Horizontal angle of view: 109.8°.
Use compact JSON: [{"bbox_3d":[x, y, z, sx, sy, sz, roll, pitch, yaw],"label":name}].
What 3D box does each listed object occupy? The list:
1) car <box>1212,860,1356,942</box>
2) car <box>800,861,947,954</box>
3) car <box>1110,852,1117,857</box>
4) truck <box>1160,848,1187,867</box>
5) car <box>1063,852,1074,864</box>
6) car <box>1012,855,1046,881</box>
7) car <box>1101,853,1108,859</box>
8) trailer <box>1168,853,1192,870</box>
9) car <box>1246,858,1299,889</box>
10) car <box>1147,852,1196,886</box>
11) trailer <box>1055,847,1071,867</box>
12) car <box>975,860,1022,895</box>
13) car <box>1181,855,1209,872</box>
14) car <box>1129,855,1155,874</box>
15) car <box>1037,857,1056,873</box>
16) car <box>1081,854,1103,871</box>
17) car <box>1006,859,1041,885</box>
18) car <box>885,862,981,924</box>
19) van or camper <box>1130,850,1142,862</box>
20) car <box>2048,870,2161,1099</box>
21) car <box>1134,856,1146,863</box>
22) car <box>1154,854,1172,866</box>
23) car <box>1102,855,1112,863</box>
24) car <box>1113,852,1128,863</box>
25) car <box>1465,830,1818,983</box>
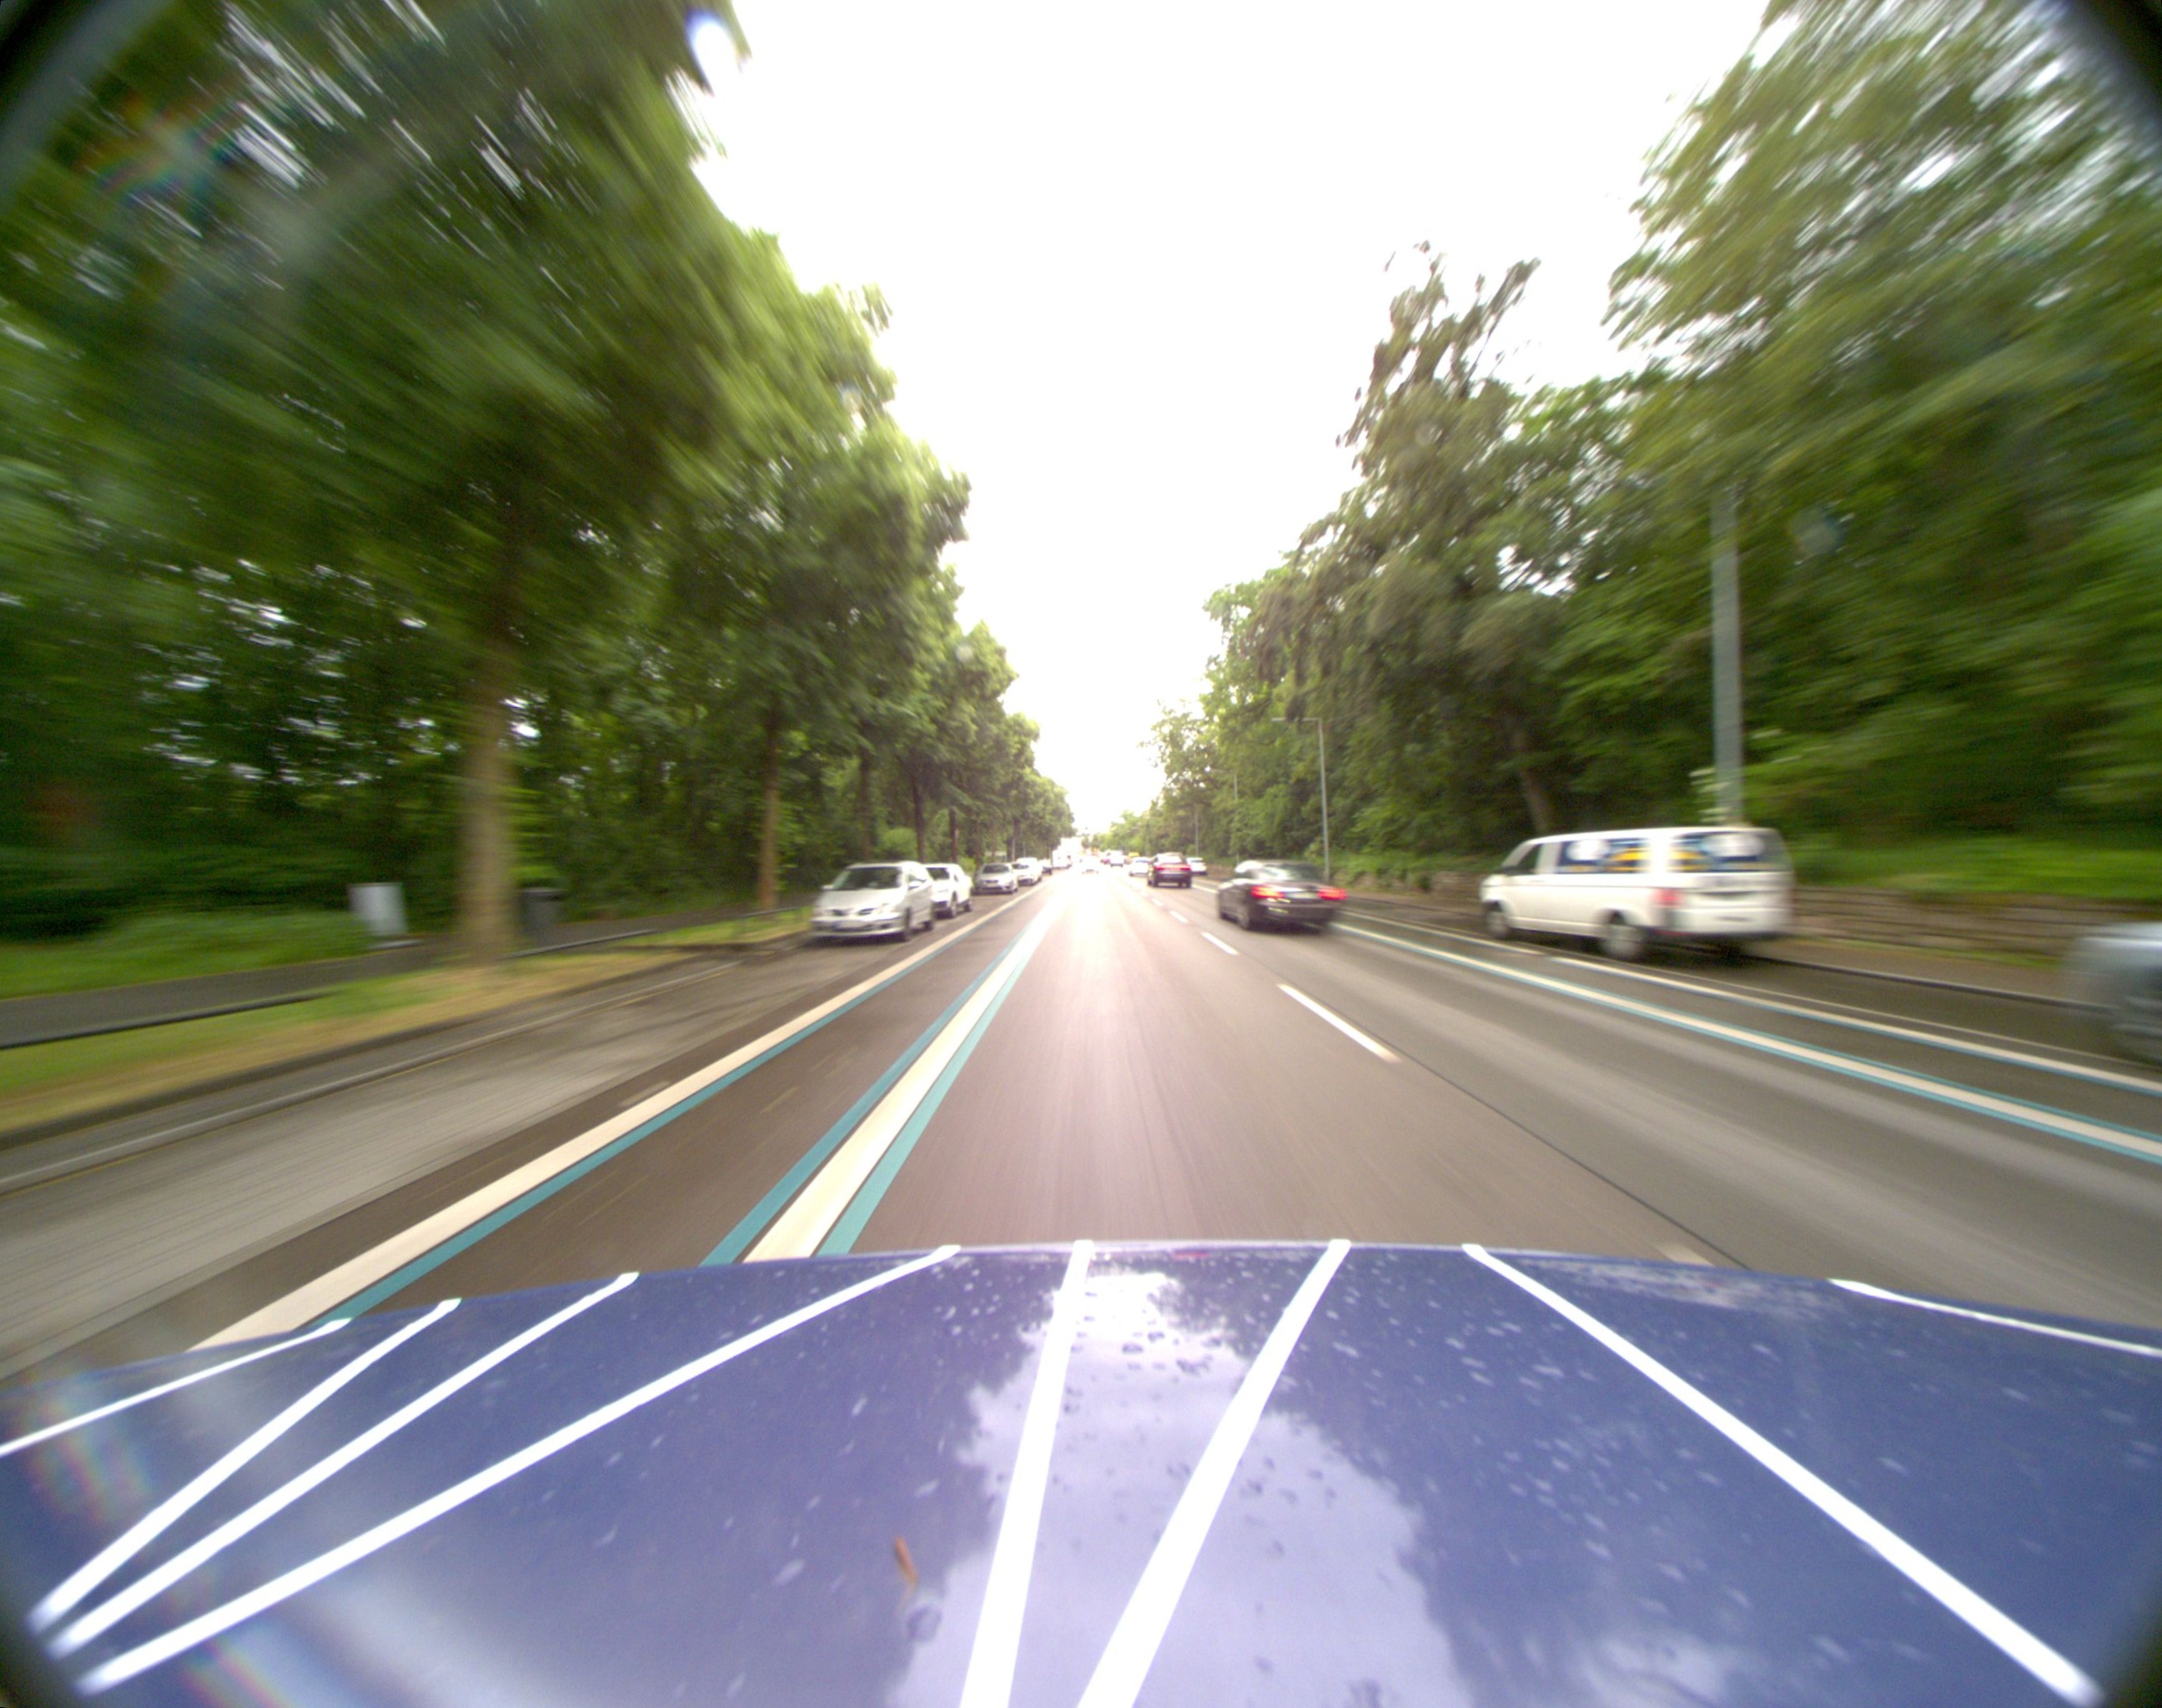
[{"bbox_3d":[4.213,0.906,16.577,1.920,1.448,4.620,1,0,1],"label":"car"},{"bbox_3d":[-4.188,1.004,16.205,1.757,1.587,4.740,-2,0,0],"label":"car"},{"bbox_3d":[10.021,0.239,233.387,1.825,1.427,3.559,-1,0,1],"label":"car"},{"bbox_3d":[10.047,0.372,82.917,2.099,2.002,5.158,-1,0,-2],"label":"truck"},{"bbox_3d":[-2.444,0.731,148.660,1.998,2.231,4.000,-2,1,1],"label":"car"},{"bbox_3d":[-3.527,0.946,52.233,1.998,1.652,4.562,-1,0,0],"label":"car"},{"bbox_3d":[6.084,0.528,197.714,1.769,1.449,4.496,-1,0,1],"label":"car"},{"bbox_3d":[10.100,0.774,77.551,1.347,1.647,2.271,0,0,39],"label":"trailer"},{"bbox_3d":[9.391,0.943,37.582,1.694,1.397,4.028,-2,0,2],"label":"car"},{"bbox_3d":[4.568,0.739,38.893,1.966,1.608,4.466,1,0,1],"label":"car"},{"bbox_3d":[-2.374,0.409,100.788,1.988,2.550,3.999,-1,0,-2],"label":"trailer"},{"bbox_3d":[-3.789,1.061,35.496,1.702,1.445,4.097,-2,0,-1],"label":"car"},{"bbox_3d":[9.801,0.829,65.606,1.759,1.427,4.356,0,0,-1],"label":"car"},{"bbox_3d":[4.831,0.801,60.661,1.780,1.457,4.063,1,0,1],"label":"car"},{"bbox_3d":[-3.242,1.006,71.807,1.700,1.468,3.997,0,0,-1],"label":"car"},{"bbox_3d":[1.039,0.784,72.607,1.998,1.588,4.000,-2,0,1],"label":"car"},{"bbox_3d":[-3.401,1.040,45.510,1.702,1.445,3.946,-2,0,0],"label":"car"},{"bbox_3d":[-4.159,1.052,22.059,1.702,1.504,4.470,-2,0,2],"label":"car"},{"bbox_3d":[11.269,0.387,156.699,2.165,2.437,4.436,-1,0,1],"label":"van or camper"},{"bbox_3d":[8.604,0.913,3.595,2.015,1.596,4.780,0,0,1],"label":"car"},{"bbox_3d":[10.195,0.943,131.402,1.825,1.285,4.206,0,0,1],"label":"car"},{"bbox_3d":[10.005,0.709,93.004,1.811,1.489,4.753,0,1,1],"label":"car"},{"bbox_3d":[5.652,1.028,164.863,2.043,1.639,4.478,-1,0,2],"label":"car"},{"bbox_3d":[5.914,0.506,114.530,1.958,1.629,4.445,1,0,1],"label":"car"},{"bbox_3d":[8.819,0.716,12.725,1.979,1.993,5.017,-2,0,-3],"label":"car"}]
